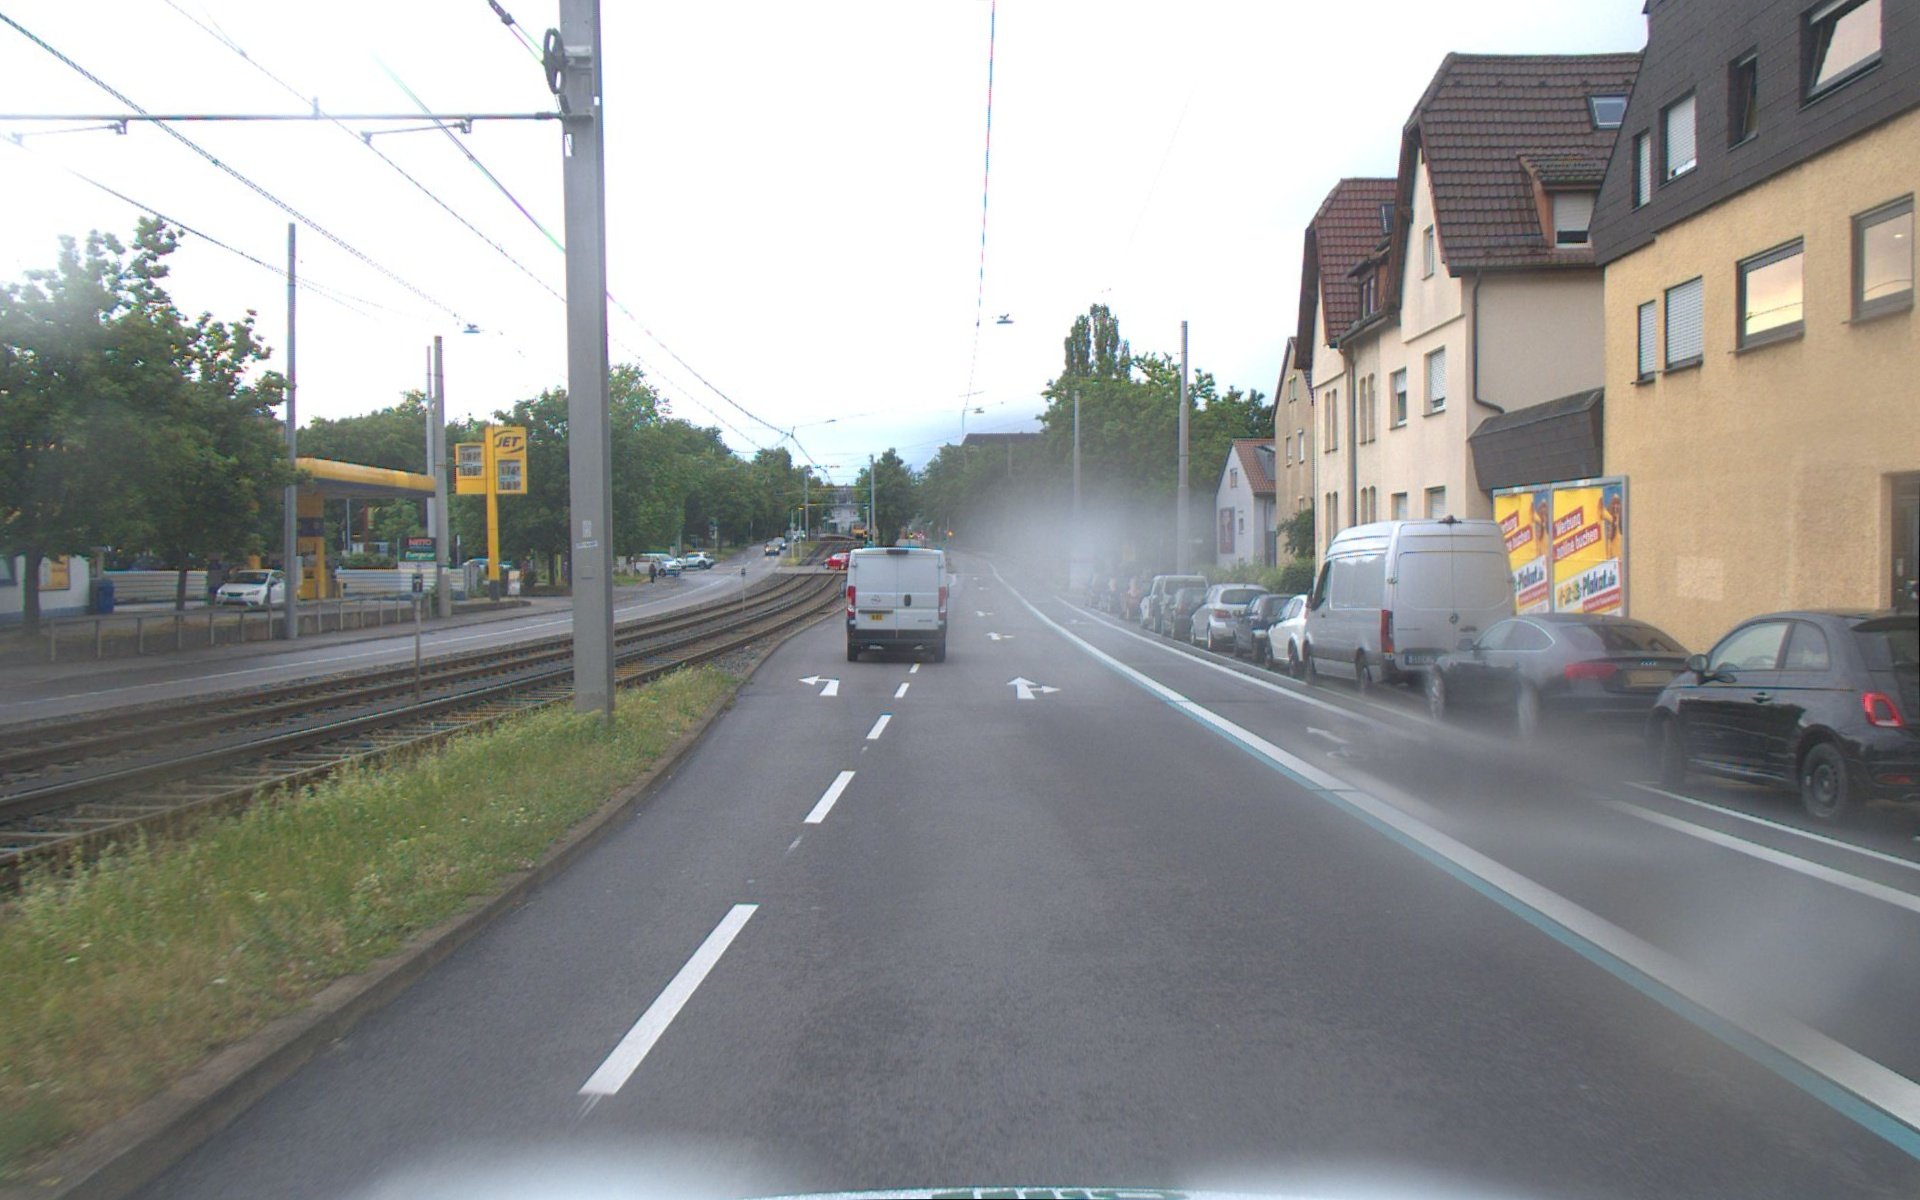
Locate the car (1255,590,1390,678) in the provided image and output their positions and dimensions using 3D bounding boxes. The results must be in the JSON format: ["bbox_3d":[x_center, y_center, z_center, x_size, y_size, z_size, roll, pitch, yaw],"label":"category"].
[{"bbox_3d":[6.830,0.595,31.531,1.673,1.471,4.041,1,1,0],"label":"car"}]

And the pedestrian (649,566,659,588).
[{"bbox_3d":[-21.800,-1.636,117.891,0.601,1.501,0.641,-1,1,-14],"label":"pedestrian"}]

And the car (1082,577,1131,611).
[{"bbox_3d":[6.729,-0.301,76.202,1.810,1.526,3.953,0,1,-2],"label":"car"}]

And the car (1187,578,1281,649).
[{"bbox_3d":[6.821,0.302,41.462,1.613,1.643,4.104,1,1,-1],"label":"car"}]

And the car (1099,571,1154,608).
[{"bbox_3d":[7.039,-0.453,70.290,1.810,1.526,3.953,0,1,-2],"label":"car"}]

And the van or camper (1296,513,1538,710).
[{"bbox_3d":[6.768,0.078,25.273,1.953,2.608,6.043,1,1,0],"label":"van or camper"}]

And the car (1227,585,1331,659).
[{"bbox_3d":[6.917,0.439,36.157,1.592,1.473,3.708,1,1,1],"label":"car"}]

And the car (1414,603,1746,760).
[{"bbox_3d":[6.697,0.803,18.457,1.753,1.430,4.550,1,1,-4],"label":"car"}]

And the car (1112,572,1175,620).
[{"bbox_3d":[6.868,-0.184,62.346,1.810,1.674,3.954,0,2,-2],"label":"car"}]

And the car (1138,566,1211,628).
[{"bbox_3d":[6.767,-0.123,52.525,1.711,1.839,3.954,0,2,-2],"label":"car"}]

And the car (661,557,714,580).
[{"bbox_3d":[-25.545,-2.927,155.137,4.420,2.049,2.000,1,0,21],"label":"car"}]

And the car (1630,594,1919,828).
[{"bbox_3d":[6.712,0.740,12.682,1.534,1.524,3.510,1,0,-4],"label":"car"}]

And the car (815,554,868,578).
[{"bbox_3d":[-10.383,-3.015,145.035,4.440,2.049,1.991,1,0,38],"label":"car"}]

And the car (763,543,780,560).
[{"bbox_3d":[-21.605,-5.531,189.428,1.656,1.741,3.775,1,0,-2],"label":"car"}]

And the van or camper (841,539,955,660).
[{"bbox_3d":[-1.329,-0.018,34.162,2.155,2.292,4.680,1,0,-4],"label":"van or camper"}]

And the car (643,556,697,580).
[{"bbox_3d":[-26.546,-2.930,151.291,4.420,2.049,2.000,1,0,21],"label":"car"}]

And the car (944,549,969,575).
[{"bbox_3d":[-0.291,-3.057,134.540,1.953,2.049,3.999,1,0,-1],"label":"car"}]

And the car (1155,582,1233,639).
[{"bbox_3d":[6.624,0.265,47.136,1.613,1.471,3.954,1,1,-1],"label":"car"}]

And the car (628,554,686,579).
[{"bbox_3d":[-25.764,-2.873,140.598,4.420,2.049,2.000,1,0,21],"label":"car"}]

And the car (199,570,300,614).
[{"bbox_3d":[-25.089,-0.294,58.560,1.953,1.467,3.998,1,0,-3],"label":"car"}]

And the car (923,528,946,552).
[{"bbox_3d":[-2.356,-5.546,152.938,1.954,2.049,3.997,1,0,-4],"label":"car"}]
